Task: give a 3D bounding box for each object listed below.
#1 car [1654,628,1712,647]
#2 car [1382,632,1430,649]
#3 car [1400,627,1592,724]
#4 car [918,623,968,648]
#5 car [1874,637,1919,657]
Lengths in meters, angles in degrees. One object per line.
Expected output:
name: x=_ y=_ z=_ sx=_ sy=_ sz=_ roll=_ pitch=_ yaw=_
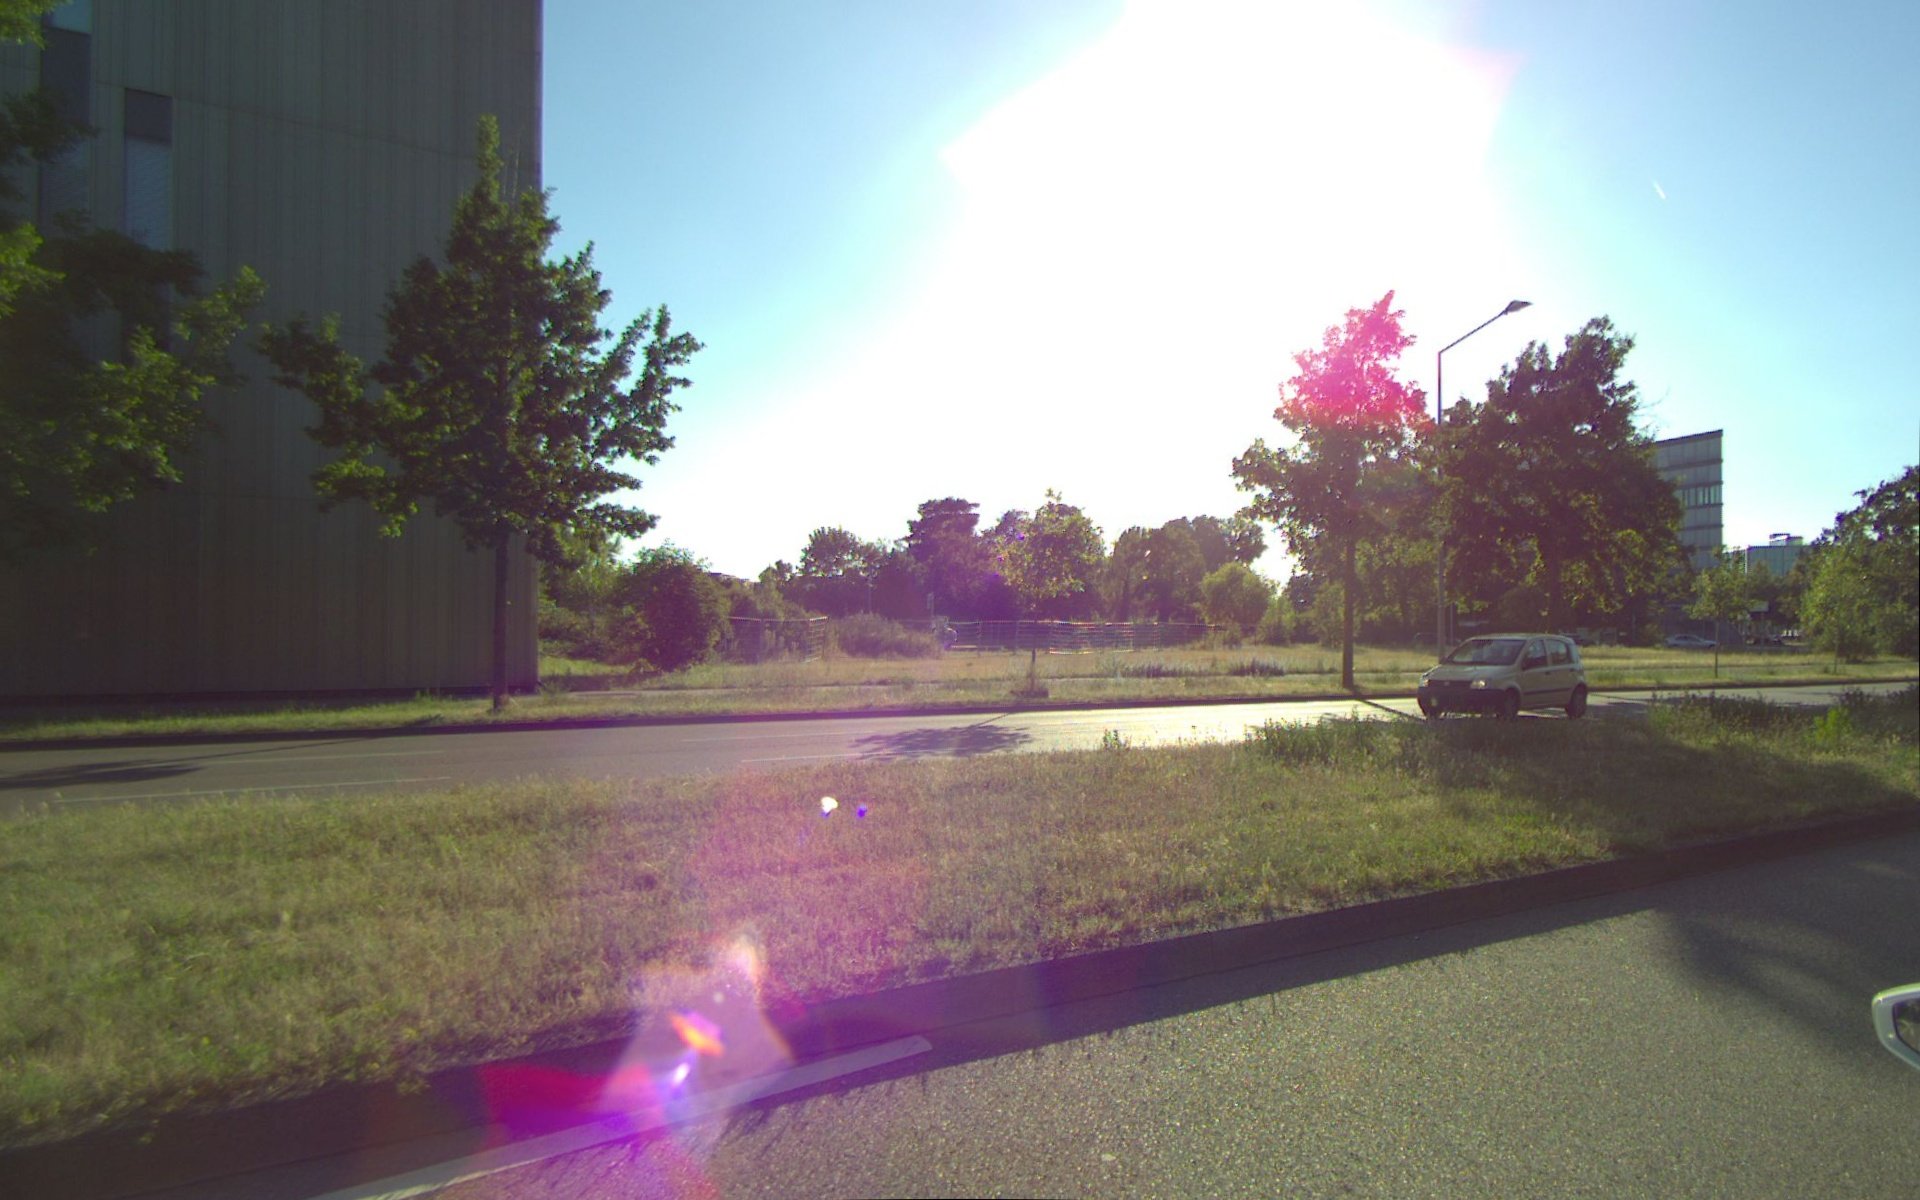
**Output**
car: x=61.865 y=3.192 z=85.989 sx=3.636 sy=1.528 sz=1.875 roll=-1 pitch=-1 yaw=20
car: x=41.283 y=3.736 z=93.063 sx=3.915 sy=1.528 sz=1.875 roll=0 pitch=-1 yaw=20
car: x=9.693 y=1.292 z=18.129 sx=3.373 sy=1.595 sz=1.554 roll=1 pitch=-2 yaw=-31
car: x=-1.418 y=2.956 z=84.289 sx=3.815 sy=2.040 sz=1.994 roll=-1 pitch=-2 yaw=34
car: x=75.179 y=3.736 z=79.534 sx=3.910 sy=1.528 sz=1.843 roll=-1 pitch=-2 yaw=35
